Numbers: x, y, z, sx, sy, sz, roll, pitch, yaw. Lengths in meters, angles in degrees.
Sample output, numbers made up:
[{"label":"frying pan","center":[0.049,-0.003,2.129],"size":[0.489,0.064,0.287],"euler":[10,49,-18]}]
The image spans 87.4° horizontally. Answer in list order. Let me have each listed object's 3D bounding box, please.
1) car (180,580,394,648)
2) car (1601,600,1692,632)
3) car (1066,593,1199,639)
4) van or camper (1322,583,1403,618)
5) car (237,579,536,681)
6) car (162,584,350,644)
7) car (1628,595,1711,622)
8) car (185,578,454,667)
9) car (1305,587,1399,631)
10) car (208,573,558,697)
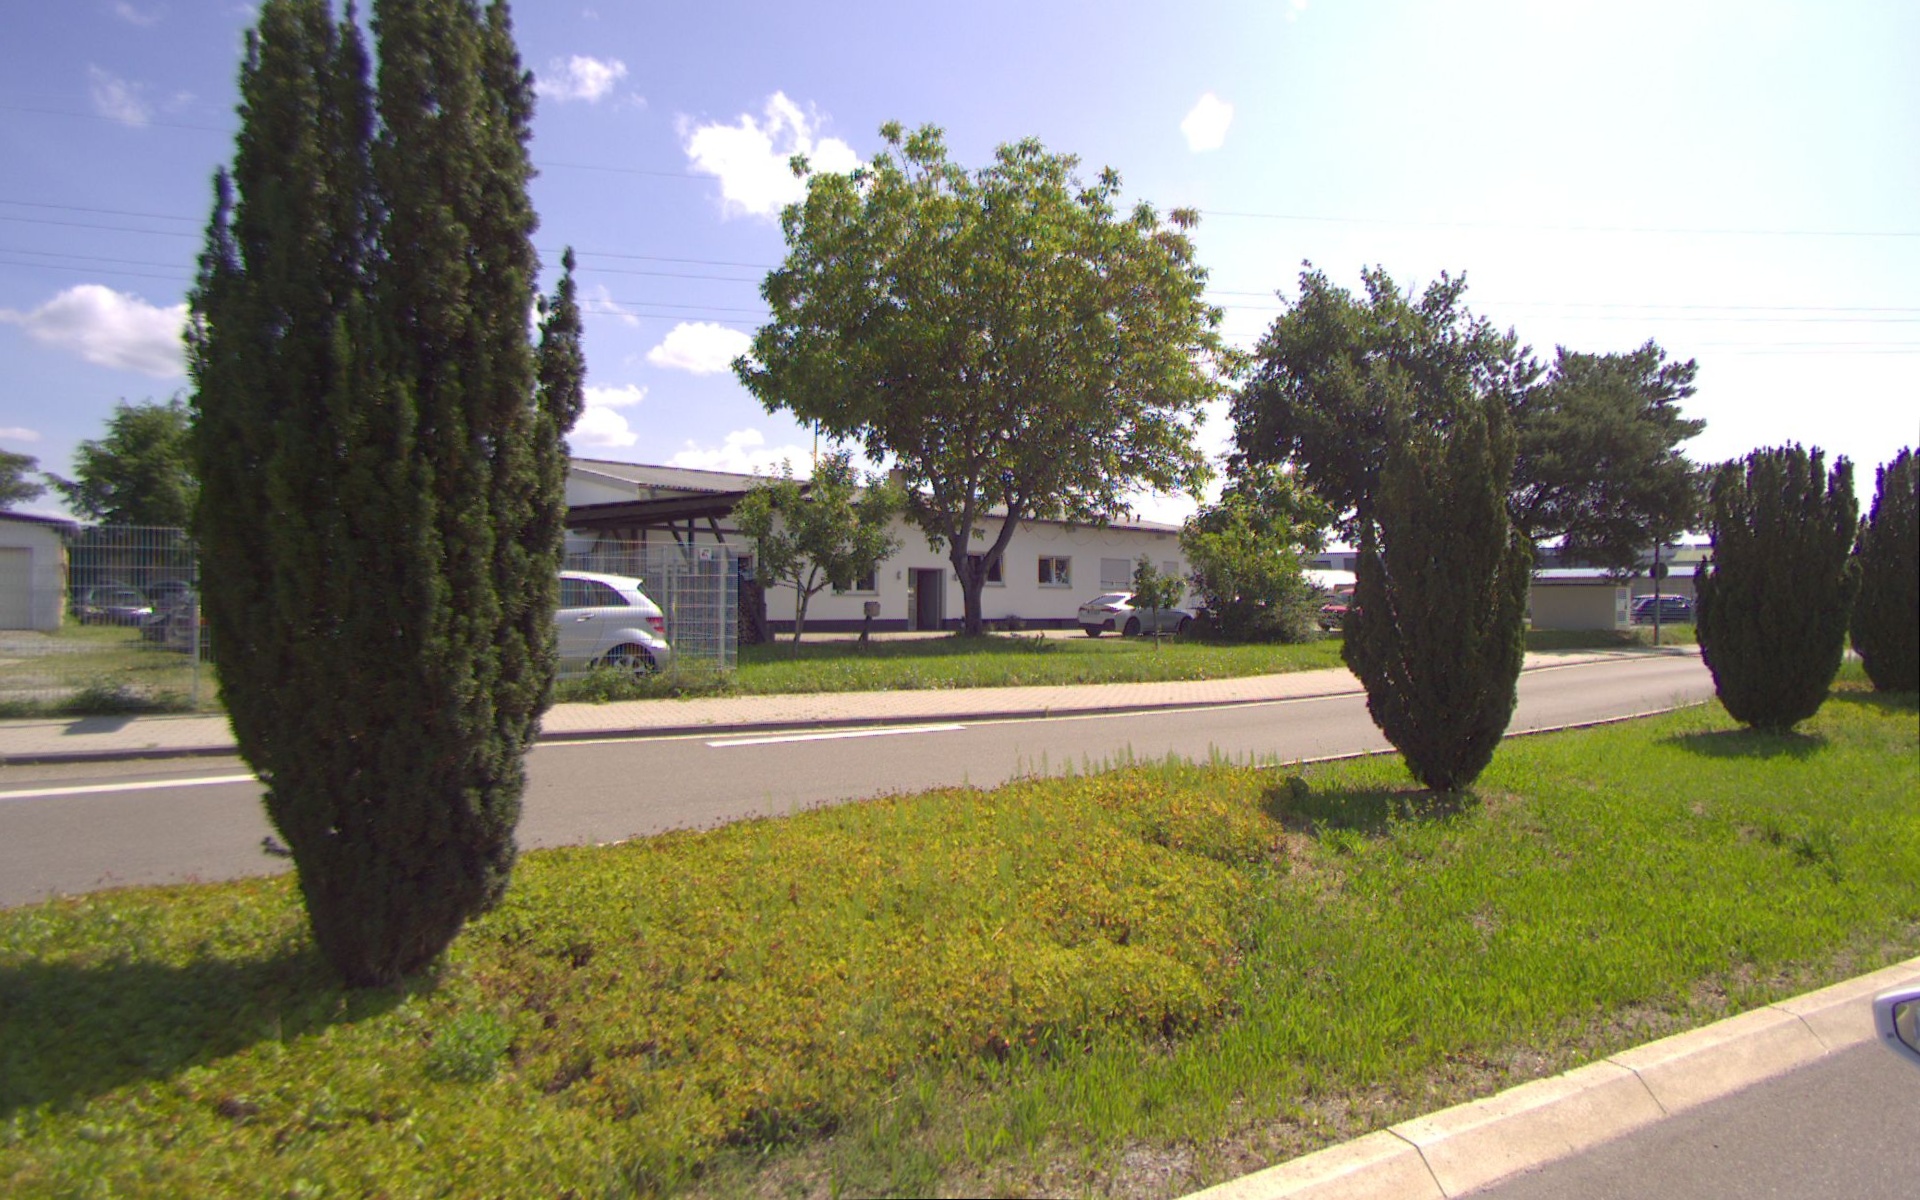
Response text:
[{"label":"car","center":[-15.590,0.327,23.343],"size":[3.967,1.461,1.977],"euler":[1,-1,-40]},{"label":"car","center":[39.639,0.917,58.135],"size":[4.029,1.727,1.723],"euler":[1,0,22]},{"label":"car","center":[5.793,0.534,33.514],"size":[4.480,1.427,1.976],"euler":[1,-1,-41]},{"label":"van or camper","center":[28.644,0.057,71.600],"size":[5.237,2.407,1.894],"euler":[1,0,22]},{"label":"car","center":[-9.276,0.450,16.375],"size":[3.967,1.461,1.977],"euler":[1,0,-40]},{"label":"car","center":[-18.621,0.354,26.644],"size":[3.966,1.461,1.977],"euler":[1,0,-40]},{"label":"car","center":[39.140,0.464,55.496],"size":[3.504,1.420,1.798],"euler":[1,0,27]},{"label":"car","center":[-11.694,0.397,18.452],"size":[3.967,1.461,1.977],"euler":[1,-1,-40]},{"label":"car","center":[16.393,0.369,41.883],"size":[4.197,1.768,1.976],"euler":[1,0,-42]},{"label":"car","center":[-7.903,0.445,13.898],"size":[3.965,1.461,1.978],"euler":[1,-1,-39]}]
